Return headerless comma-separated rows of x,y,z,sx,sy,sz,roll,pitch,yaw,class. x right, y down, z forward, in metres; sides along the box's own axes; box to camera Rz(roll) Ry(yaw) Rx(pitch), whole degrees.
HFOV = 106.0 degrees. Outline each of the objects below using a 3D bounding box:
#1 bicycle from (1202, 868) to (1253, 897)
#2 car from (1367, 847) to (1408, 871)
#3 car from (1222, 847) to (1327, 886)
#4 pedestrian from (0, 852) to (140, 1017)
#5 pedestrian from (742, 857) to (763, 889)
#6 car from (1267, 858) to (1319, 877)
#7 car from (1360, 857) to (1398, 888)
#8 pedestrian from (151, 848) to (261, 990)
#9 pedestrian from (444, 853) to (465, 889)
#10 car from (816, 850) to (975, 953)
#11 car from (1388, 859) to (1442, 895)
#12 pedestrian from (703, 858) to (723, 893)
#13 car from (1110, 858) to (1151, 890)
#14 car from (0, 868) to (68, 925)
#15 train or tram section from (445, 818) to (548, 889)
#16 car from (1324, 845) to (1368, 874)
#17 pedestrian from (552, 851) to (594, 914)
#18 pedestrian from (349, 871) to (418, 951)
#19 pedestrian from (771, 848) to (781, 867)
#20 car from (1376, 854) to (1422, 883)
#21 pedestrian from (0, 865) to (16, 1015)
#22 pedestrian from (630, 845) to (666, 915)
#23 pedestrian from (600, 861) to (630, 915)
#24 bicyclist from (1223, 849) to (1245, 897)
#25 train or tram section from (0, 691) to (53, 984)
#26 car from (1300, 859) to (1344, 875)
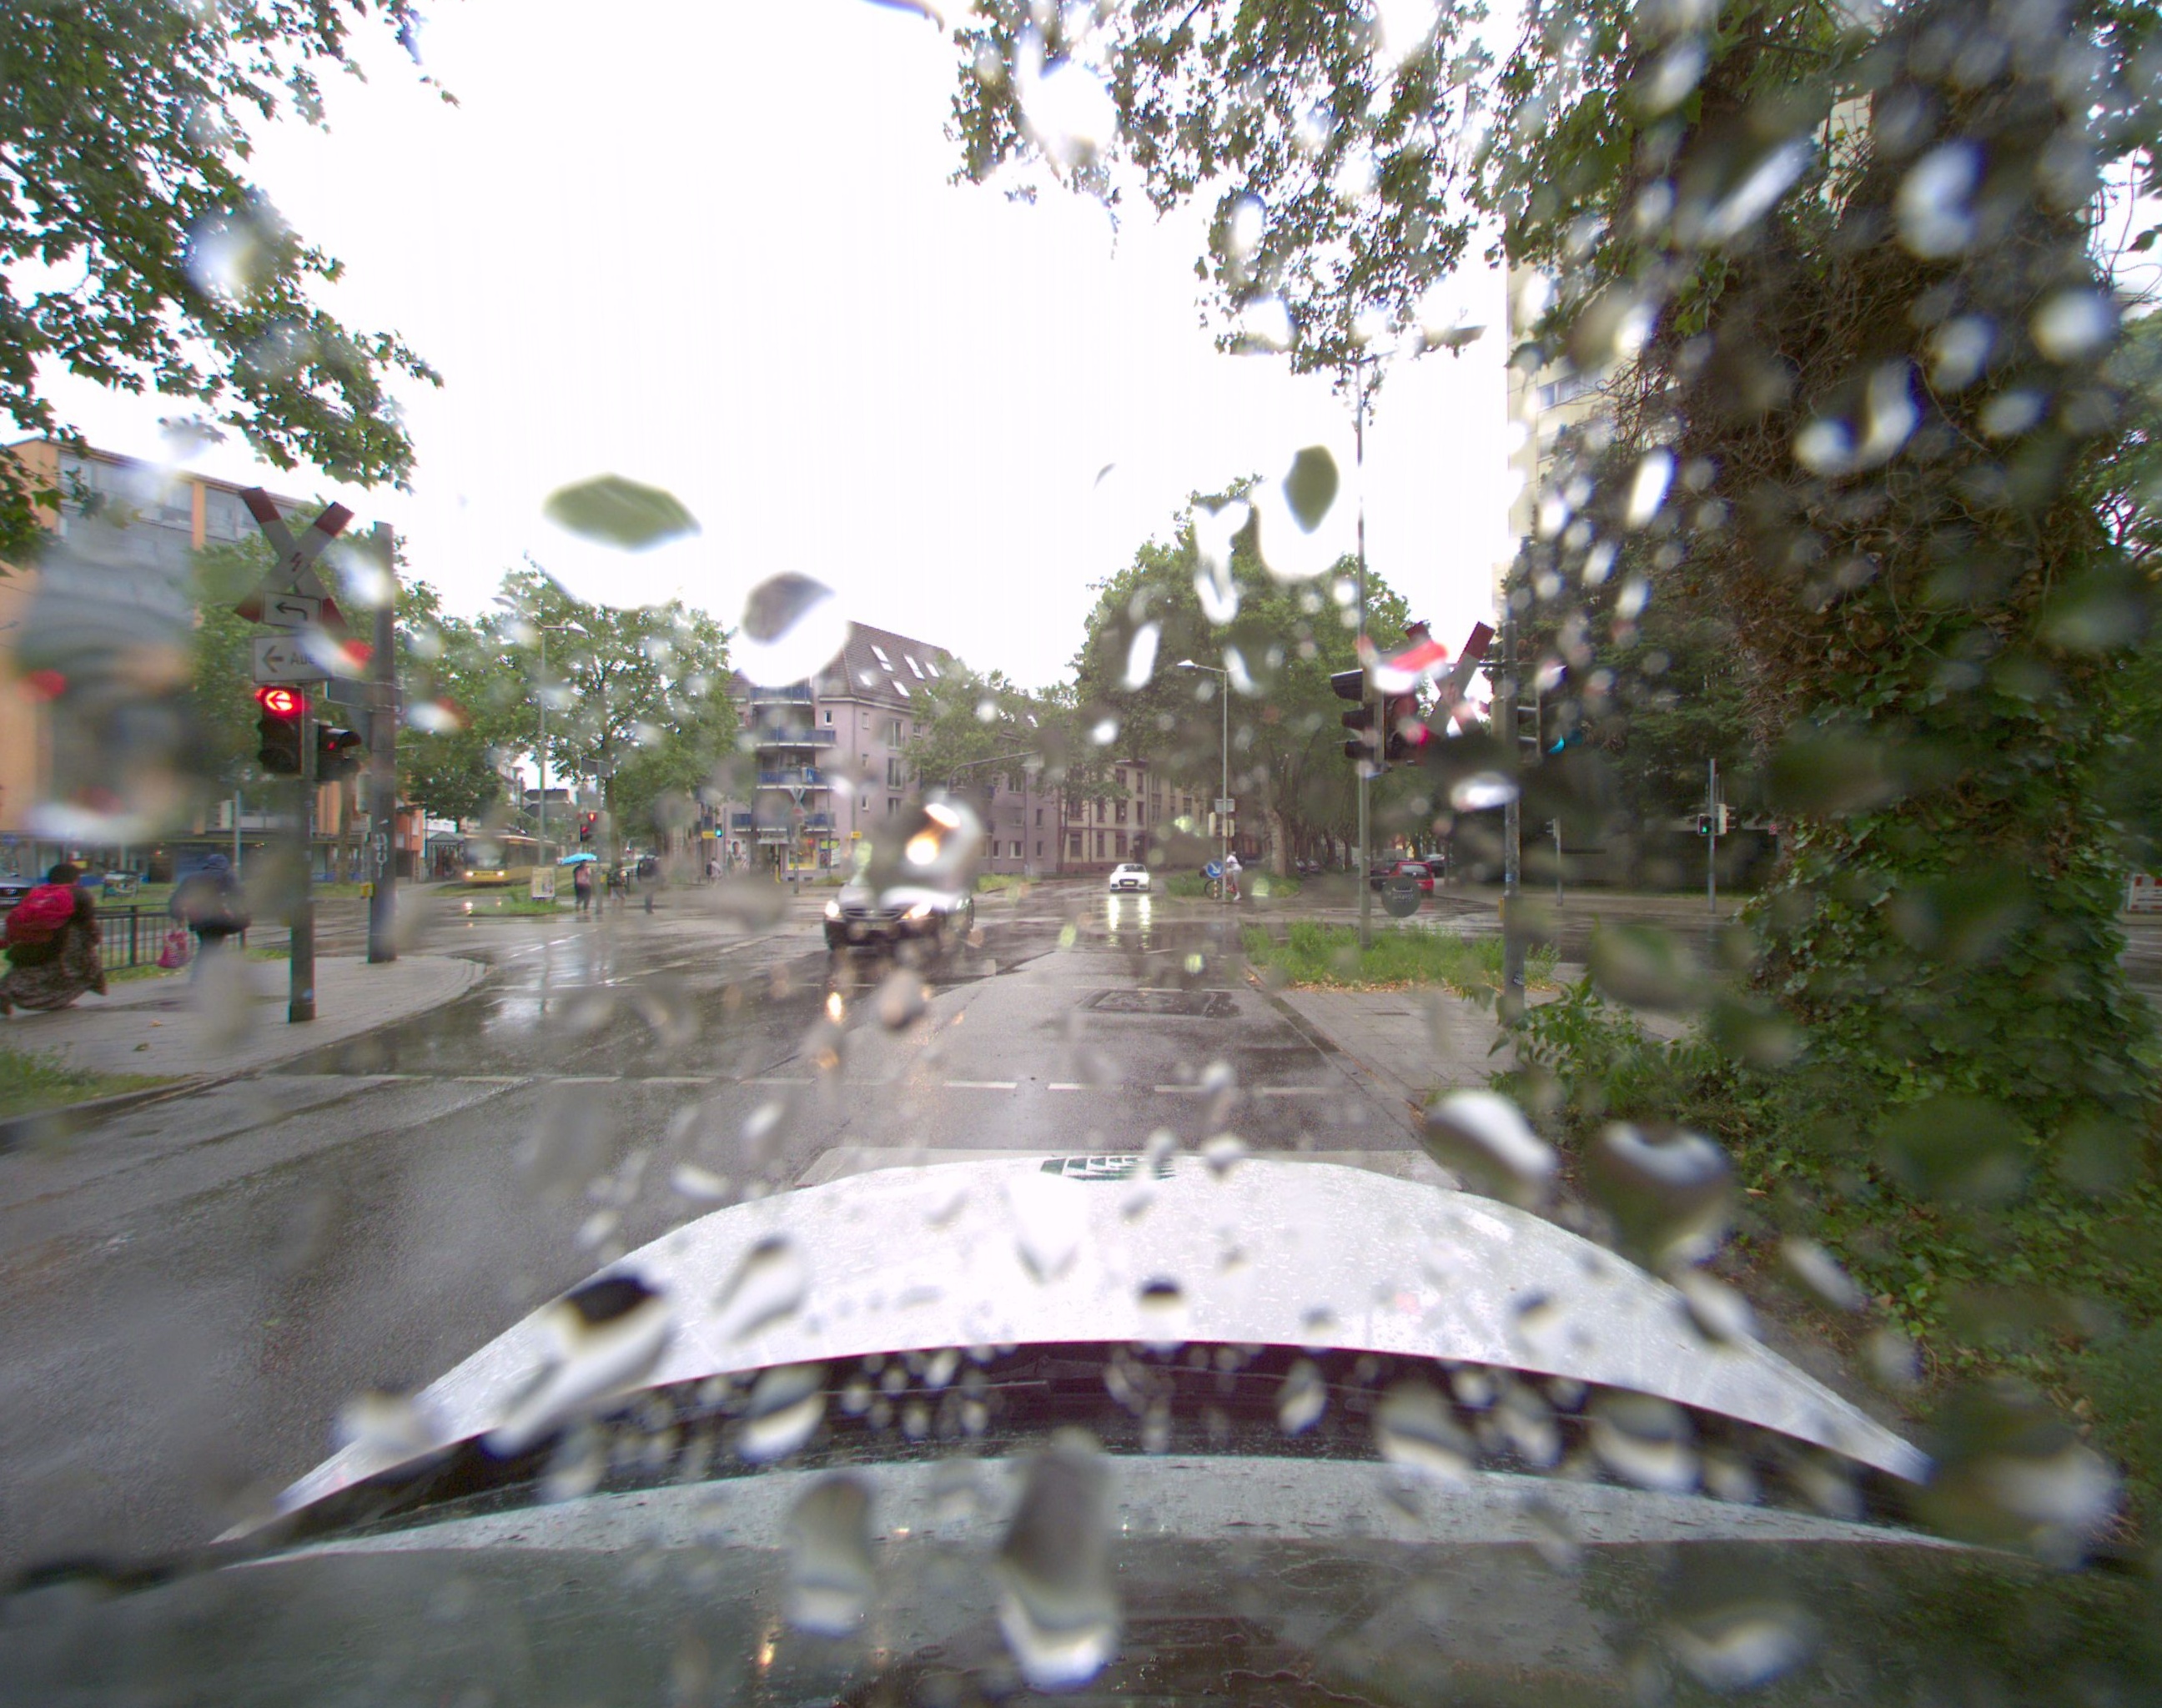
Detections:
5.467,1.065,30.401,1.862,1.081,0.658,-1,-1,9,bicycle
38.986,0.628,103.574,2.006,2.948,4.726,0,-1,-29,car
7.752,0.514,32.667,3.958,1.486,2.008,-1,-1,14,car
-10.747,0.810,8.545,0.728,1.624,0.816,-1,1,-5,pedestrian
-15.821,0.915,39.235,0.749,1.533,0.789,0,-1,-9,pedestrian
16.939,1.107,65.180,3.958,1.486,2.008,-1,-1,14,car
17.324,1.057,47.431,1.769,1.727,4.017,-1,-1,16,car
-11.137,0.789,10.401,0.844,1.698,0.680,-3,2,-42,pedestrian
-37.681,1.025,48.992,0.889,2.151,0.902,0,-1,-30,pedestrian
-2.899,0.694,13.549,1.708,1.459,3.748,0,-1,1,car
14.825,0.977,36.339,1.778,1.498,4.017,0,0,16,car
-16.759,0.967,37.100,0.674,1.600,0.963,0,-1,-14,pedestrian
2.411,0.930,39.176,1.876,1.436,4.004,0,0,4,car
-32.012,1.210,23.616,3.994,1.530,1.615,0,1,12,car
-36.327,0.059,51.374,2.897,3.768,17.089,0,-1,-28,train or tram section
28.320,0.576,87.222,2.040,2.948,4.742,0,-1,-18,car
-14.711,0.814,23.607,0.962,1.766,0.944,0,-1,-28,pedestrian
-12.302,0.988,14.381,0.657,1.349,0.706,0,0,-12,pedestrian
-20.661,0.243,55.176,0.560,1.329,0.443,0,-1,-13,pedestrian
15.894,0.691,40.875,1.770,1.348,3.945,0,1,16,car
-11.243,0.875,7.991,0.681,1.520,0.658,-1,0,-7,pedestrian
-11.732,0.690,22.075,0.791,1.855,0.676,0,0,-22,pedestrian
-12.435,0.897,21.751,0.652,1.396,0.776,0,0,-27,pedestrian
5.690,0.710,30.371,0.790,1.786,0.699,-1,-1,9,bicyclist
-13.100,-0.222,3.443,2.863,3.545,13.656,0,0,-13,train or tram section
23.135,1.243,78.266,3.958,1.547,2.008,-1,-1,14,car
